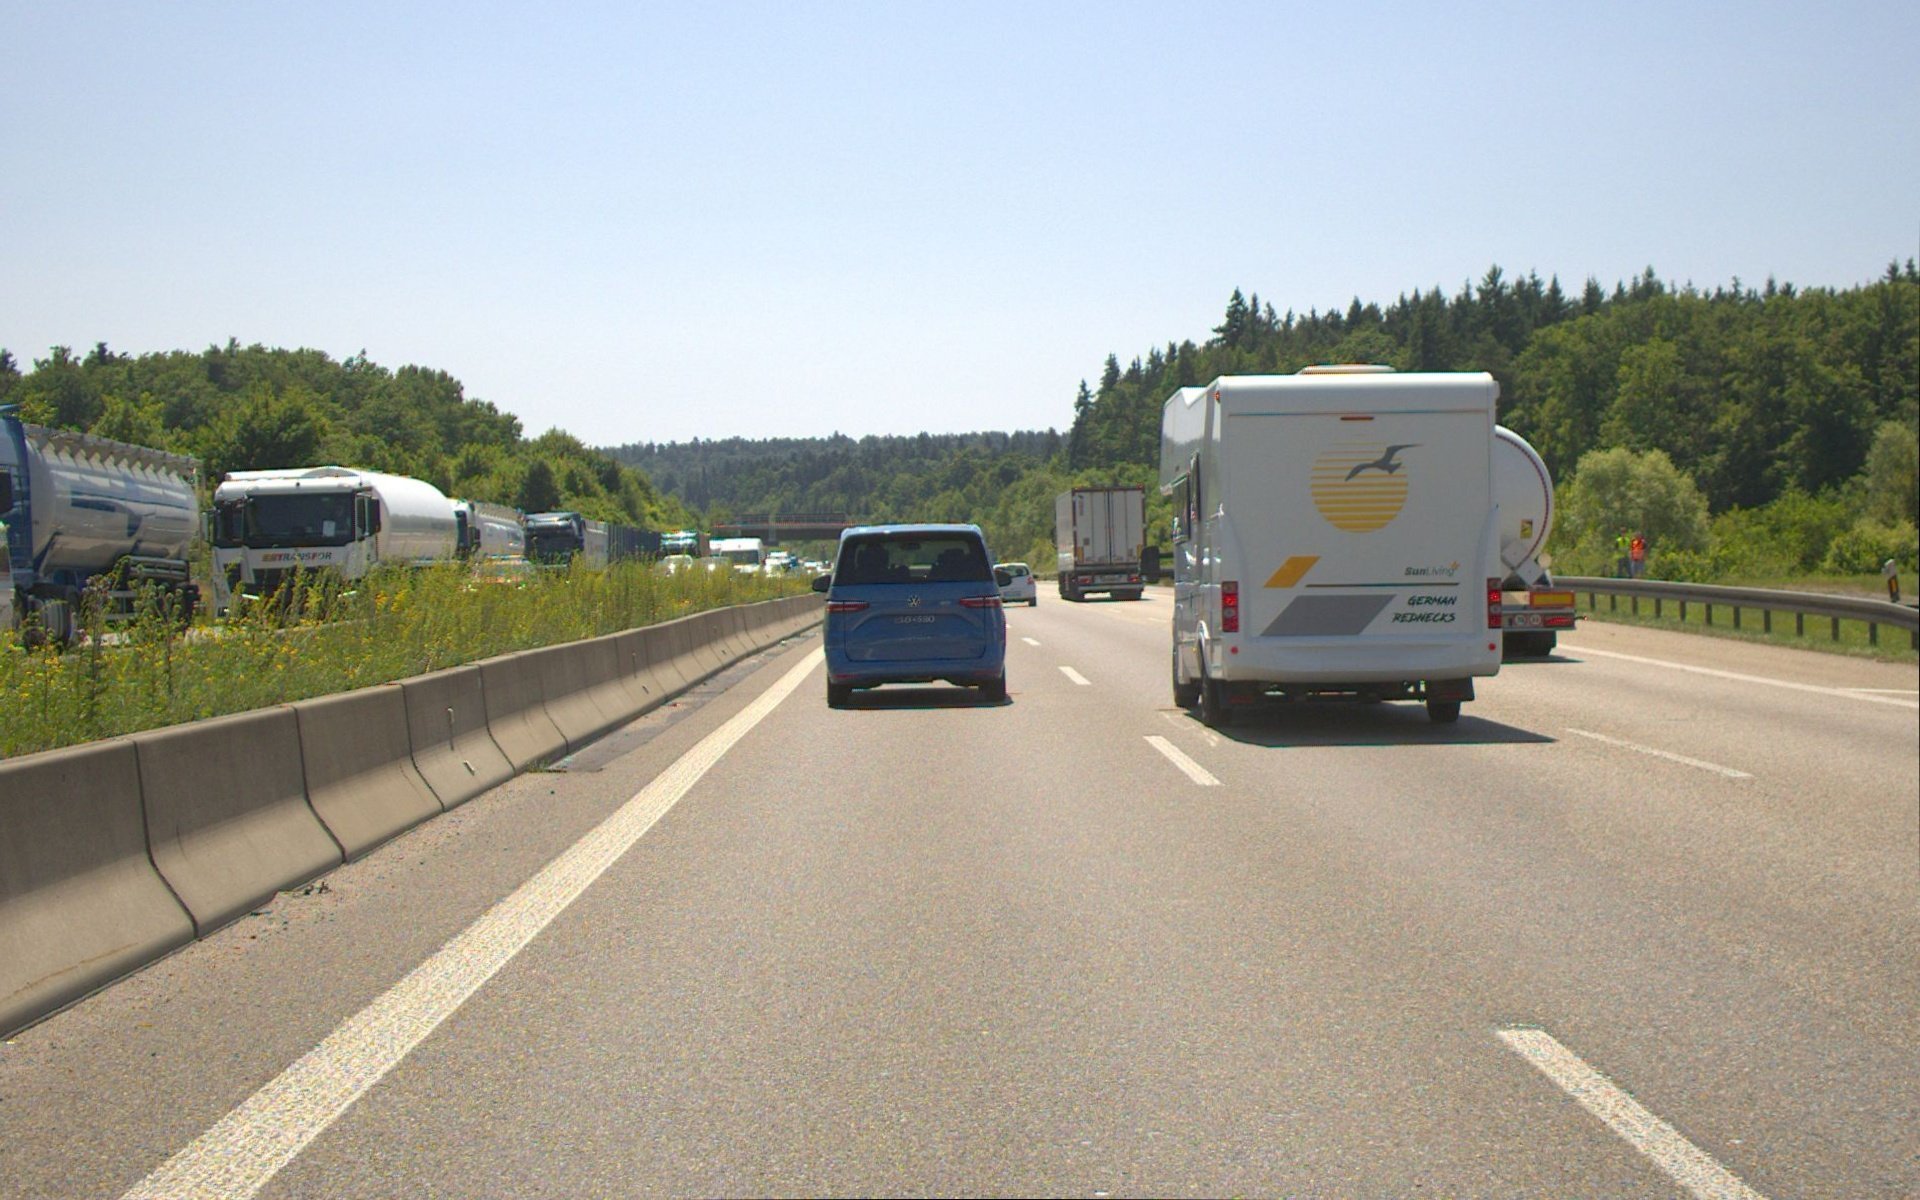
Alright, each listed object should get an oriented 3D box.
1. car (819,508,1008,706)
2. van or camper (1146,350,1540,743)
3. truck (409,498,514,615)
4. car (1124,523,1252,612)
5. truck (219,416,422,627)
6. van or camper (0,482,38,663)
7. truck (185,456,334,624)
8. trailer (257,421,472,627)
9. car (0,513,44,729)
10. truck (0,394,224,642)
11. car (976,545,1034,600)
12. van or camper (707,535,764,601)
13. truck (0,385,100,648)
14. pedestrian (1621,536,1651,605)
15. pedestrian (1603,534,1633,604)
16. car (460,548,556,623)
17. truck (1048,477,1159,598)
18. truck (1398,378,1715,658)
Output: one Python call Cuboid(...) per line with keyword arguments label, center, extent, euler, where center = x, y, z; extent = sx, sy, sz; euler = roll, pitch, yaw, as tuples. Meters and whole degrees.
Cuboid(label="car", center=(-0.492, 0.062, 37.019), extent=(1.909, 2.007, 4.000), euler=(-1, 0, 0))
Cuboid(label="van or camper", center=(3.244, -0.440, 30.963), extent=(2.603, 3.068, 7.182), euler=(1, 0, -1))
Cuboid(label="truck", center=(-16.952, -1.448, 117.335), extent=(2.692, 3.865, 6.317), euler=(0, 0, -1))
Cuboid(label="car", center=(3.951, -0.553, 60.049), extent=(1.909, 1.470, 4.000), euler=(-1, 0, 0))
Cuboid(label="truck", center=(-12.430, -1.460, 67.446), extent=(2.618, 3.877, 7.402), euler=(-1, 0, -1))
Cuboid(label="van or camper", center=(-12.310, -0.302, 39.871), extent=(1.993, 2.145, 4.718), euler=(-1, 0, -1))
Cuboid(label="truck", center=(-17.677, -1.478, 87.205), extent=(2.088, 4.015, 7.878), euler=(1, 0, 0))
Cuboid(label="trailer", center=(-12.544, -1.495, 73.482), extent=(2.679, 3.936, 11.646), euler=(-3, 0, -1))
Cuboid(label="car", center=(-7.872, 0.155, 23.913), extent=(1.754, 1.578, 4.854), euler=(0, 0, -1))
Cuboid(label="truck", center=(-16.558, -1.455, 62.887), extent=(3.578, 4.079, 12.580), euler=(0, 1, -1))
Cuboid(label="car", center=(1.489, -0.929, 115.935), extent=(1.818, 1.788, 3.894), euler=(1, 0, -1))
Cuboid(label="van or camper", center=(-10.039, -1.426, 154.376), extent=(1.993, 2.867, 7.641), euler=(1, 0, 0))
Cuboid(label="truck", center=(-16.494, -1.323, 55.583), extent=(3.490, 4.023, 6.644), euler=(1, 0, -1))
Cuboid(label="pedestrian", center=(20.731, -0.905, 105.438), extent=(0.688, 2.073, 0.928), euler=(1, 0, 0))
Cuboid(label="pedestrian", center=(19.756, -0.917, 103.211), extent=(0.688, 2.073, 0.928), euler=(1, 0, 0))
Cuboid(label="car", center=(-12.798, -0.434, 97.646), extent=(2.086, 2.056, 5.059), euler=(0, 1, 0))
Cuboid(label="truck", center=(5.162, -2.216, 125.035), extent=(3.487, 4.156, 8.642), euler=(1, 0, -1))
Cuboid(label="truck", center=(8.200, -1.155, 48.415), extent=(2.928, 3.563, 8.527), euler=(-1, 1, 0))
